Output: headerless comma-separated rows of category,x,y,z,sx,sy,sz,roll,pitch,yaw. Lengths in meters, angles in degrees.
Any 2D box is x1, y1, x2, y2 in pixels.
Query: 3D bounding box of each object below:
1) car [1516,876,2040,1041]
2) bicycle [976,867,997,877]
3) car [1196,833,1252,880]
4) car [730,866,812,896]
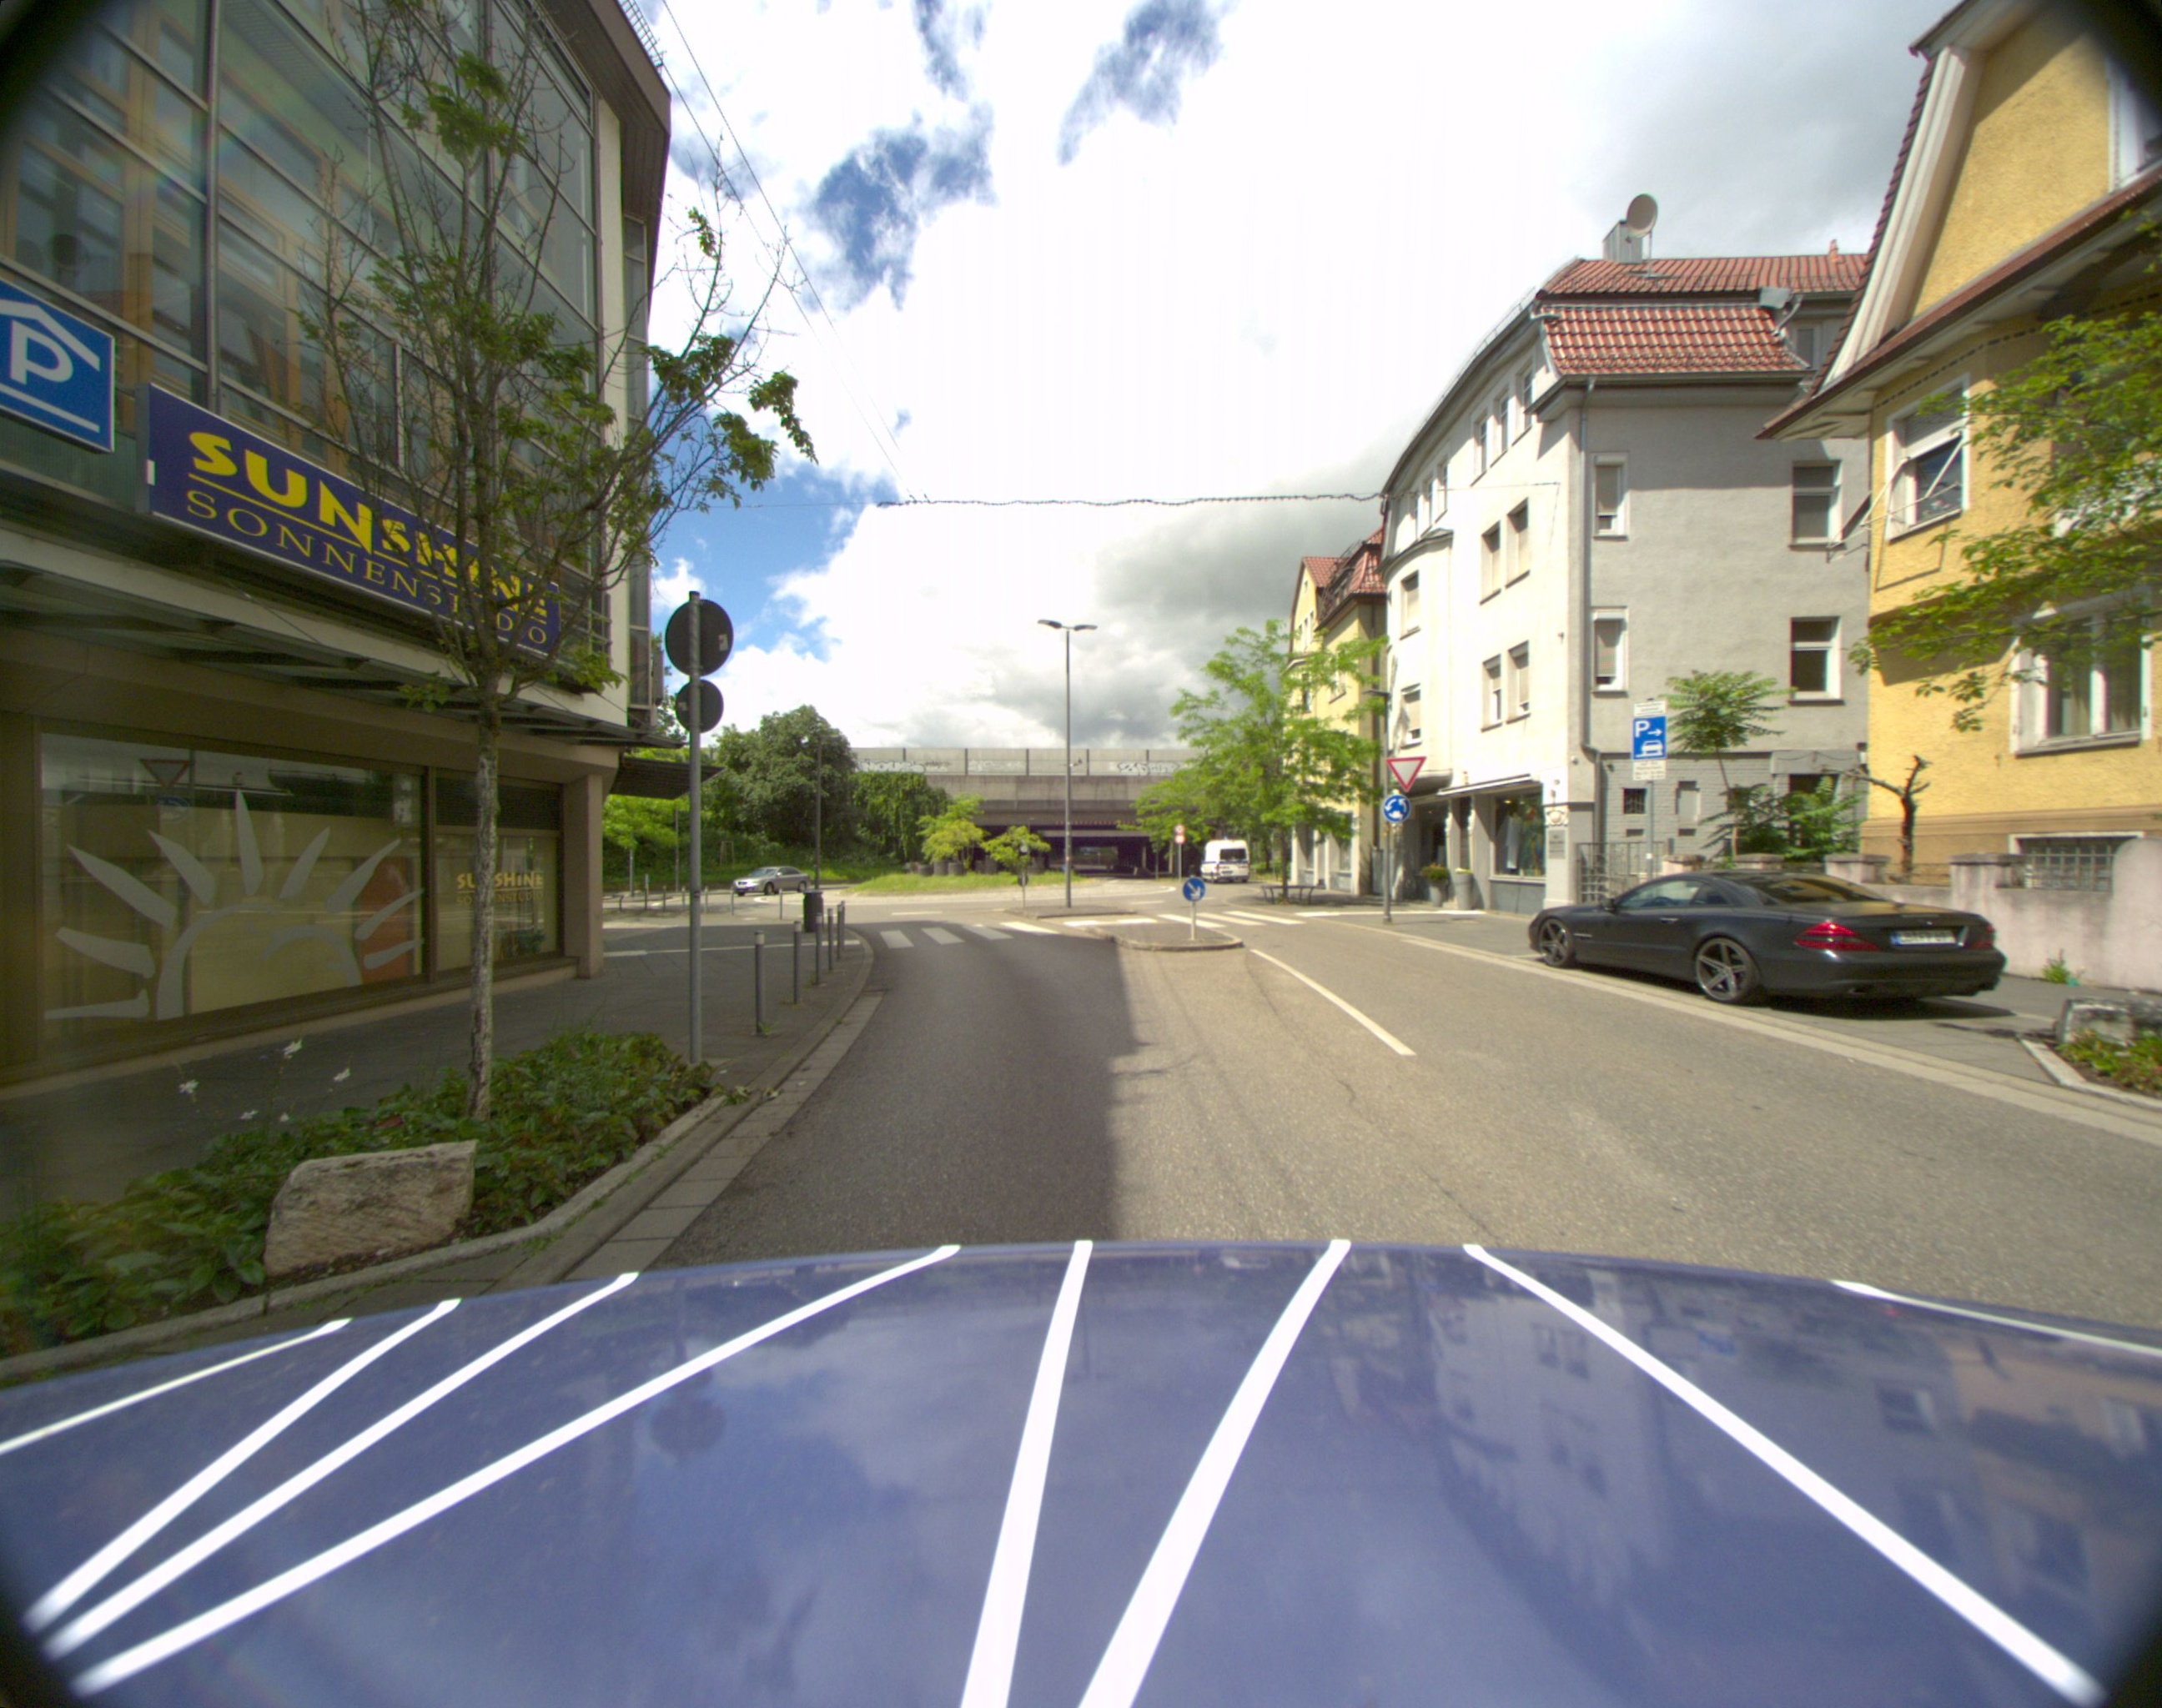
car,6.946,0.912,8.395,1.714,1.238,4.411,-1,-1,0
bicycle,-8.929,1.699,71.726,1.950,0.899,0.506,0,1,-2
car,8.598,0.188,46.296,1.973,2.591,5.929,-2,0,-2
car,-15.818,1.355,39.012,1.712,1.346,4.005,-1,0,18
